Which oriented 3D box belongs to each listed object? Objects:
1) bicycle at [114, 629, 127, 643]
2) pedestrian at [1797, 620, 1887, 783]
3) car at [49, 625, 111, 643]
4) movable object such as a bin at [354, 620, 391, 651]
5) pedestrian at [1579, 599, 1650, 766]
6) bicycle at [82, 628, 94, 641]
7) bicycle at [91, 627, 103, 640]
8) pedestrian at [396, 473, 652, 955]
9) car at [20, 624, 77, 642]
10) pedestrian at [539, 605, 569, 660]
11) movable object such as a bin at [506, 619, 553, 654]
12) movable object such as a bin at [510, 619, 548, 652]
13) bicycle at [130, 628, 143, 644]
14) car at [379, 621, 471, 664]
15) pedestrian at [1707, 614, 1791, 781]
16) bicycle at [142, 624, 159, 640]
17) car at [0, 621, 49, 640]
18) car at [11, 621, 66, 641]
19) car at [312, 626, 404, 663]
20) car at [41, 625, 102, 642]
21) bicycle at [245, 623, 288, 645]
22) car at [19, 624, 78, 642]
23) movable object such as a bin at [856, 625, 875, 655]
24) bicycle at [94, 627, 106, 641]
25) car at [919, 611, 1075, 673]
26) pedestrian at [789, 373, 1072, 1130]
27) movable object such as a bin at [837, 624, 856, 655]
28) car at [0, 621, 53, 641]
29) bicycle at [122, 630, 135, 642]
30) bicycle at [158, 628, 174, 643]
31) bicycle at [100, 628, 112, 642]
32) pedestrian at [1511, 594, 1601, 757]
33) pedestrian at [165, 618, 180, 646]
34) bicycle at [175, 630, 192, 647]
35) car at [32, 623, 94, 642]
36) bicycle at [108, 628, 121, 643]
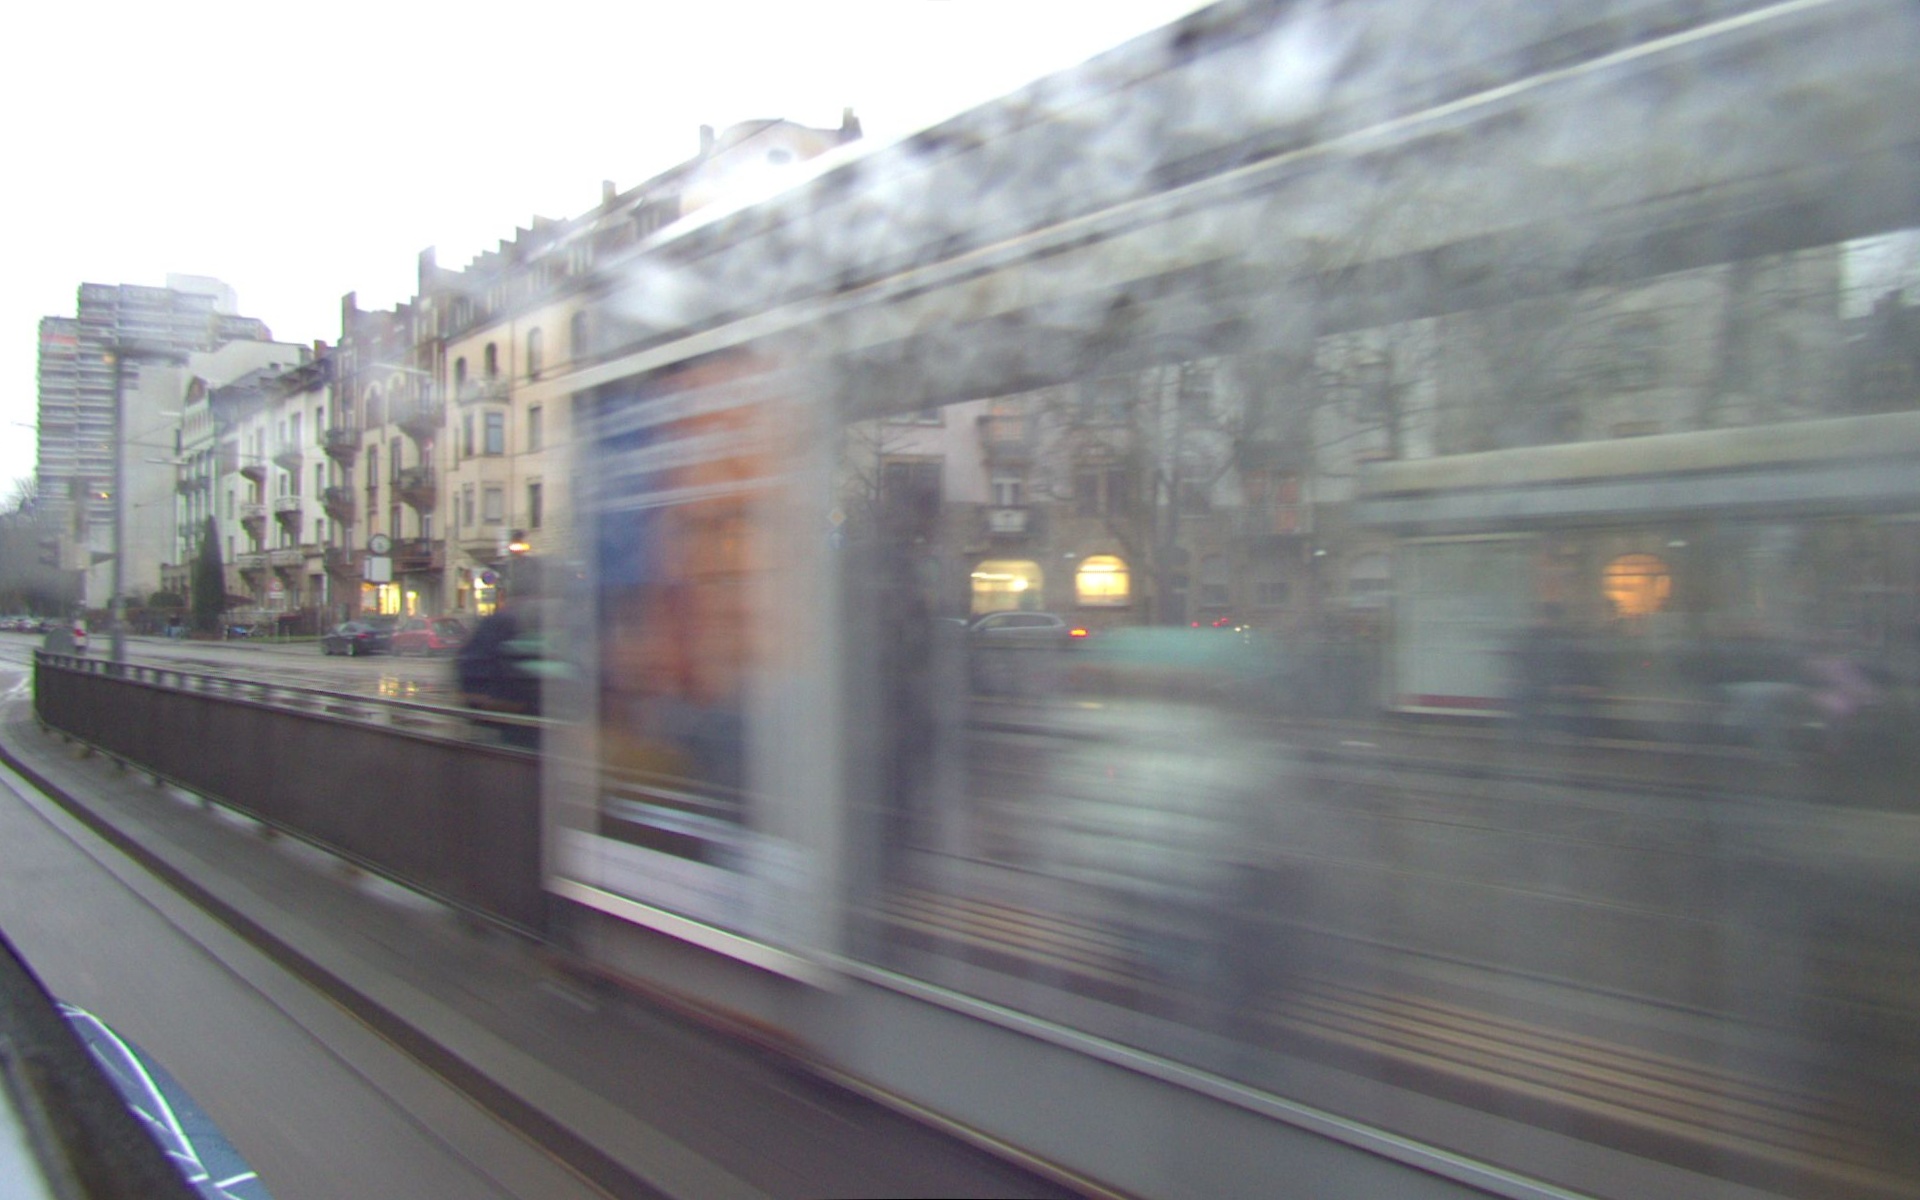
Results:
[{"bbox_3d":[-60.082,2.568,72.439,1.605,1.014,0.429,-1,1,42],"label":"bicycle"},{"bbox_3d":[7.155,0.793,8.224,0.517,1.227,0.646,-1,1,40],"label":"pedestrian"},{"bbox_3d":[-74.161,2.816,85.313,1.726,1.424,3.790,-1,-1,41],"label":"car"},{"bbox_3d":[-28.585,1.717,49.251,1.073,1.442,1.224,-1,1,39],"label":"movable object such as a bin"},{"bbox_3d":[5.836,0.714,9.020,0.453,1.414,0.468,-1,1,40],"label":"pedestrian"},{"bbox_3d":[-69.486,2.747,80.641,1.881,1.014,0.463,-1,1,42],"label":"bicycle"},{"bbox_3d":[-67.217,2.590,78.804,1.881,1.014,0.429,-1,1,42],"label":"bicycle"},{"bbox_3d":[-1.979,0.454,4.632,0.570,1.970,0.845,-1,1,41],"label":"pedestrian"},{"bbox_3d":[-86.089,3.075,95.646,1.726,1.424,3.791,-1,2,41],"label":"car"},{"bbox_3d":[-14.415,1.149,35.939,0.785,1.892,0.897,-2,1,-13],"label":"pedestrian"},{"bbox_3d":[-18.188,1.527,42.763,1.280,1.382,1.336,-1,1,39],"label":"movable object such as a bin"},{"bbox_3d":[-18.771,1.542,44.055,1.273,1.382,0.991,-1,1,40],"label":"movable object such as a bin"},{"bbox_3d":[-57.073,2.491,70.158,1.712,1.014,0.429,-1,1,42],"label":"bicycle"},{"bbox_3d":[-21.063,1.656,39.823,3.670,1.527,1.658,-1,1,35],"label":"car"},{"bbox_3d":[6.689,0.779,8.564,0.506,1.263,1.045,-1,1,40],"label":"pedestrian"},{"bbox_3d":[-54.109,2.138,67.629,2.209,1.014,0.478,-1,1,42],"label":"bicycle"},{"bbox_3d":[-96.307,3.151,103.969,1.726,1.730,3.791,-1,2,41],"label":"car"},{"bbox_3d":[-90.909,3.093,99.861,1.726,1.730,3.791,-2,1,41],"label":"car"},{"bbox_3d":[-25.580,1.854,42.950,4.502,1.400,1.785,-1,1,38],"label":"car"},{"bbox_3d":[-76.295,2.846,86.928,1.726,1.424,3.790,-2,-2,41],"label":"car"},{"bbox_3d":[-40.620,1.968,59.300,0.531,1.167,1.964,-1,2,40],"label":"bicycle"},{"bbox_3d":[-83.091,3.003,92.248,1.726,1.424,3.790,-2,1,41],"label":"car"},{"bbox_3d":[-3.559,1.508,38.206,0.638,1.144,0.655,0,-1,-13],"label":"movable object such as a bin"},{"bbox_3d":[-65.763,2.607,77.394,1.881,1.014,0.429,-1,1,42],"label":"bicycle"},{"bbox_3d":[1.024,1.191,29.598,4.276,1.595,1.940,-1,1,-6],"label":"car"},{"bbox_3d":[-0.084,0.398,3.064,0.570,2.002,0.551,-1,1,41],"label":"pedestrian"},{"bbox_3d":[-4.264,1.493,38.101,0.638,1.144,0.694,0,-1,-13],"label":"movable object such as a bin"},{"bbox_3d":[-93.441,3.120,101.238,1.726,1.730,3.791,-1,2,41],"label":"car"},{"bbox_3d":[-58.548,2.523,71.224,1.767,0.838,0.436,-1,1,42],"label":"bicycle"},{"bbox_3d":[-50.498,2.272,64.365,0.523,0.896,2.210,-3,2,-45],"label":"bicycle"},{"bbox_3d":[-64.214,2.599,76.116,1.881,1.014,0.429,-1,1,42],"label":"bicycle"},{"bbox_3d":[5.520,0.670,9.367,0.578,1.414,0.677,-1,1,40],"label":"pedestrian"},{"bbox_3d":[-46.796,1.912,60.158,0.448,1.654,0.567,-1,1,37],"label":"pedestrian"},{"bbox_3d":[-46.937,2.324,61.138,0.523,0.947,2.087,-3,2,-45],"label":"bicycle"},{"bbox_3d":[-78.535,2.834,88.628,1.726,1.424,3.791,-1,2,41],"label":"car"},{"bbox_3d":[-61.682,2.576,73.815,1.881,1.014,0.429,-1,1,42],"label":"bicycle"}]
